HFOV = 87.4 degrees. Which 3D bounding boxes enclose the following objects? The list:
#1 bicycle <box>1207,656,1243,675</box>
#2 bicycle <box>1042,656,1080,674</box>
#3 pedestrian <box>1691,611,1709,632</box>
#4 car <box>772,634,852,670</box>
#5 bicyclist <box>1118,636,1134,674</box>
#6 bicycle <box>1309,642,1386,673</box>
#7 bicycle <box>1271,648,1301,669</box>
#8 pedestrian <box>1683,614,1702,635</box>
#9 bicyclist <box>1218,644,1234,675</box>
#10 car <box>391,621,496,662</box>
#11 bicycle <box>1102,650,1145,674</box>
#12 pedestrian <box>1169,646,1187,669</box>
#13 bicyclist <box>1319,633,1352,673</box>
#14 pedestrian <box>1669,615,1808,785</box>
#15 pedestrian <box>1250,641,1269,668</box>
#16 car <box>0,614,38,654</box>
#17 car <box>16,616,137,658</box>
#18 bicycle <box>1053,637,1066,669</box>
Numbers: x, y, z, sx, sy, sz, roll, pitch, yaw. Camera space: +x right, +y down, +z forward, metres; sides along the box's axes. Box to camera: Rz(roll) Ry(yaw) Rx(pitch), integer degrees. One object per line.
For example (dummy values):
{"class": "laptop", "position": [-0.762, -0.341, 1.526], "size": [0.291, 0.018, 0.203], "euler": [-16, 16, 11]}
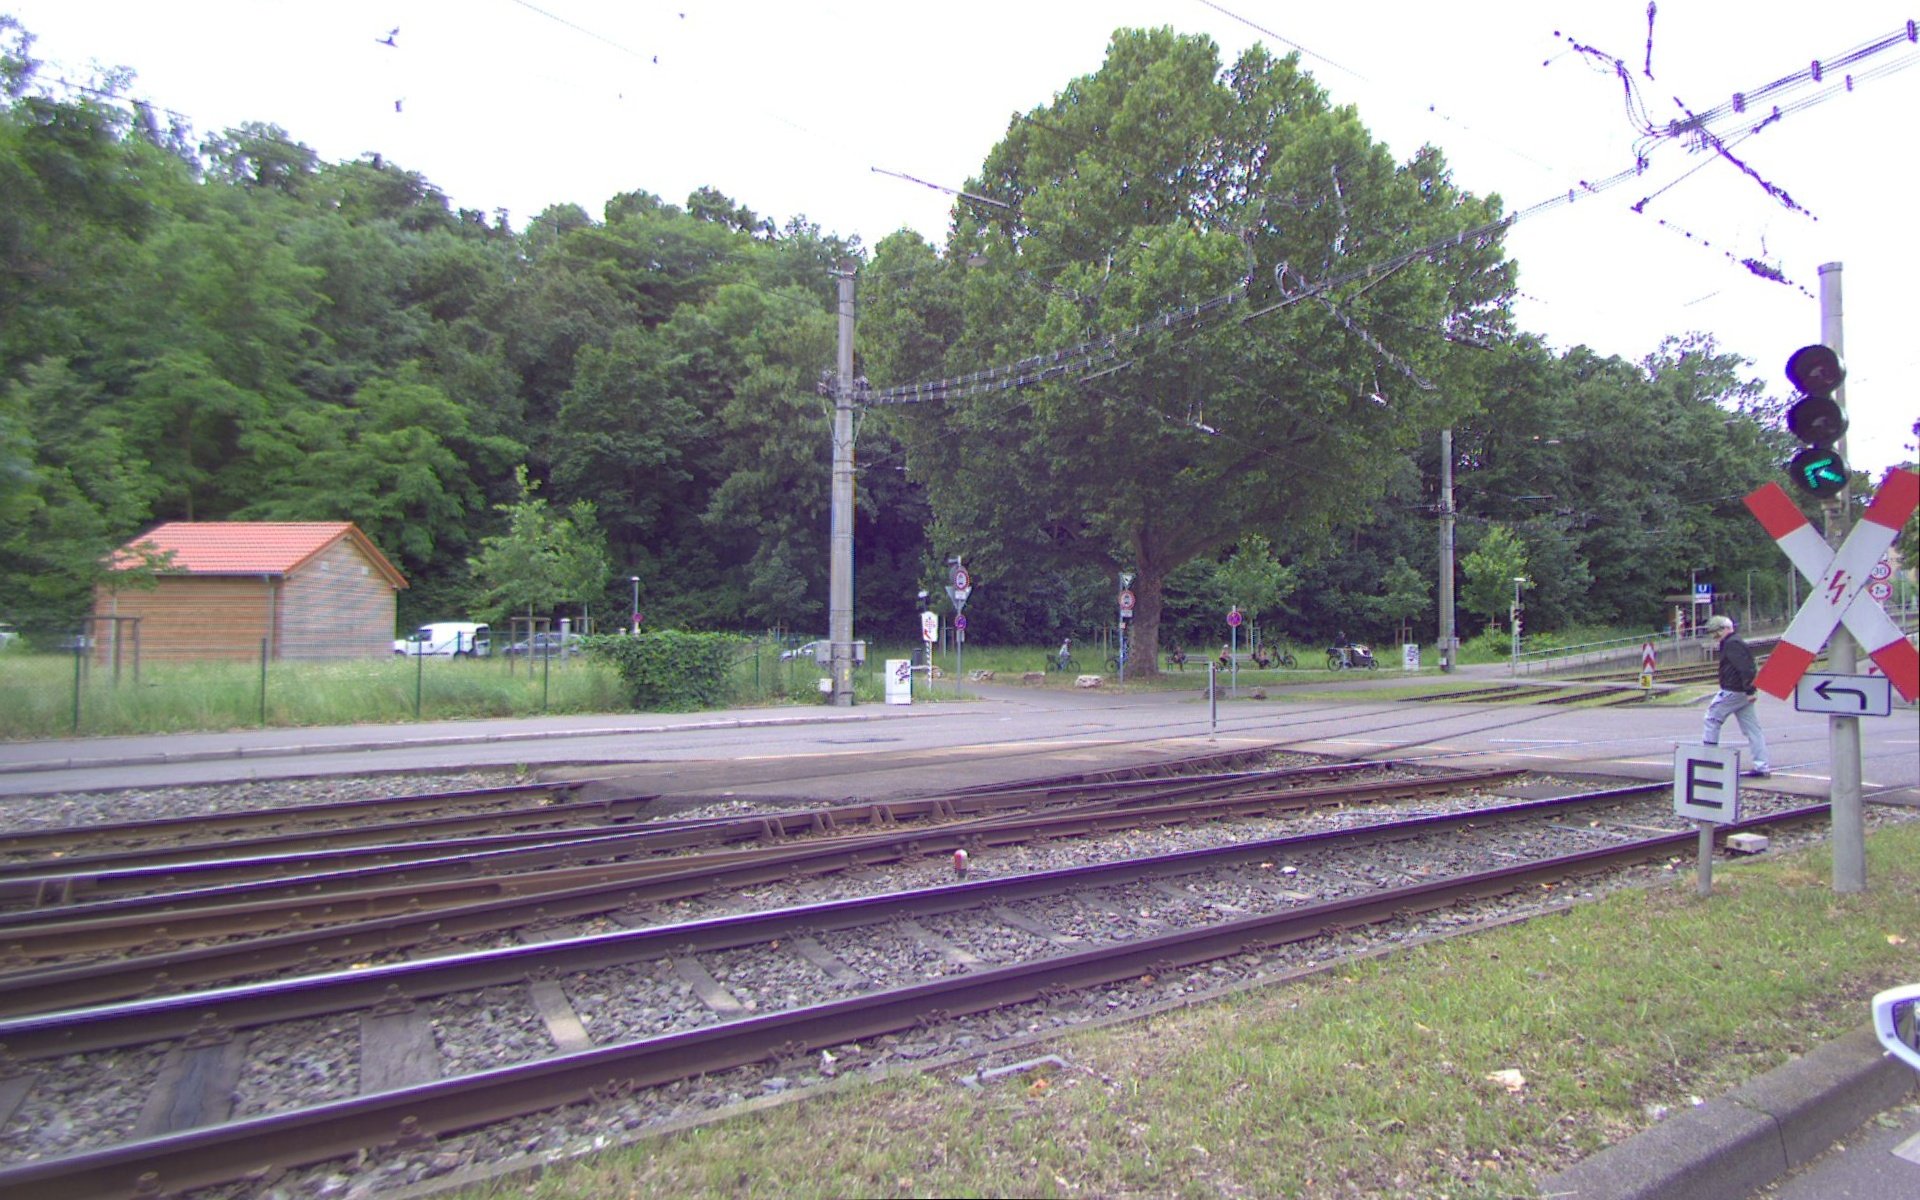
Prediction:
{"class": "bicycle", "position": [12.054, 2.993, 45.748], "size": [1.532, 0.749, 0.454], "euler": [-2, 2, -12]}
{"class": "bicycle", "position": [4.463, 2.870, 44.565], "size": [1.621, 0.749, 0.454], "euler": [0, 1, -4]}
{"class": "pedestrian", "position": [48.926, 1.435, 66.410], "size": [0.780, 1.344, 0.766], "euler": [2, 0, -37]}
{"class": "car", "position": [-6.750, 2.378, 46.112], "size": [3.436, 1.443, 1.700], "euler": [2, 0, -3]}
{"class": "bicyclist", "position": [7.547, 2.491, 45.746], "size": [0.612, 1.697, 0.475], "euler": [0, 1, -4]}
{"class": "bicycle", "position": [17.934, 2.648, 46.504], "size": [3.280, 1.307, 0.735], "euler": [-1, 2, 1]}
{"class": "bicycle", "position": [15.723, 2.820, 48.478], "size": [0.611, 0.897, 1.743], "euler": [2, 0, -10]}
{"class": "pedestrian", "position": [48.005, 1.622, 65.826], "size": [0.780, 1.344, 0.766], "euler": [-1, 2, -37]}
{"class": "bicyclist", "position": [12.115, 2.708, 45.744], "size": [0.571, 1.319, 0.454], "euler": [-2, 2, -12]}
{"class": "car", "position": [-23.005, 1.822, 44.849], "size": [3.610, 1.634, 1.909], "euler": [2, 0, -3]}
{"class": "bicycle", "position": [7.447, 2.821, 45.749], "size": [1.907, 1.055, 0.475], "euler": [0, 1, -4]}
{"class": "pedestrian", "position": [10.302, 2.716, 47.495], "size": [0.610, 1.003, 0.531], "euler": [2, 0, -15]}
{"class": "bicyclist", "position": [17.374, 2.446, 46.503], "size": [1.267, 1.734, 0.735], "euler": [-1, 2, 1]}
{"class": "pedestrian", "position": [8.742, 1.075, 11.337], "size": [0.797, 1.783, 1.121], "euler": [2, 0, 13]}
{"class": "pedestrian", "position": [14.334, 2.615, 48.068], "size": [0.662, 1.251, 0.578], "euler": [2, 0, -16]}
{"class": "car", "position": [-42.886, 1.443, 43.759], "size": [3.612, 1.634, 1.756], "euler": [2, 0, -6]}
{"class": "car", "position": [-38.693, 1.600, 44.064], "size": [3.610, 1.634, 1.757], "euler": [2, 0, -3]}
{"class": "bicycle", "position": [4.415, 2.348, 44.554], "size": [0.506, 1.348, 0.454], "euler": [0, 1, -4]}
